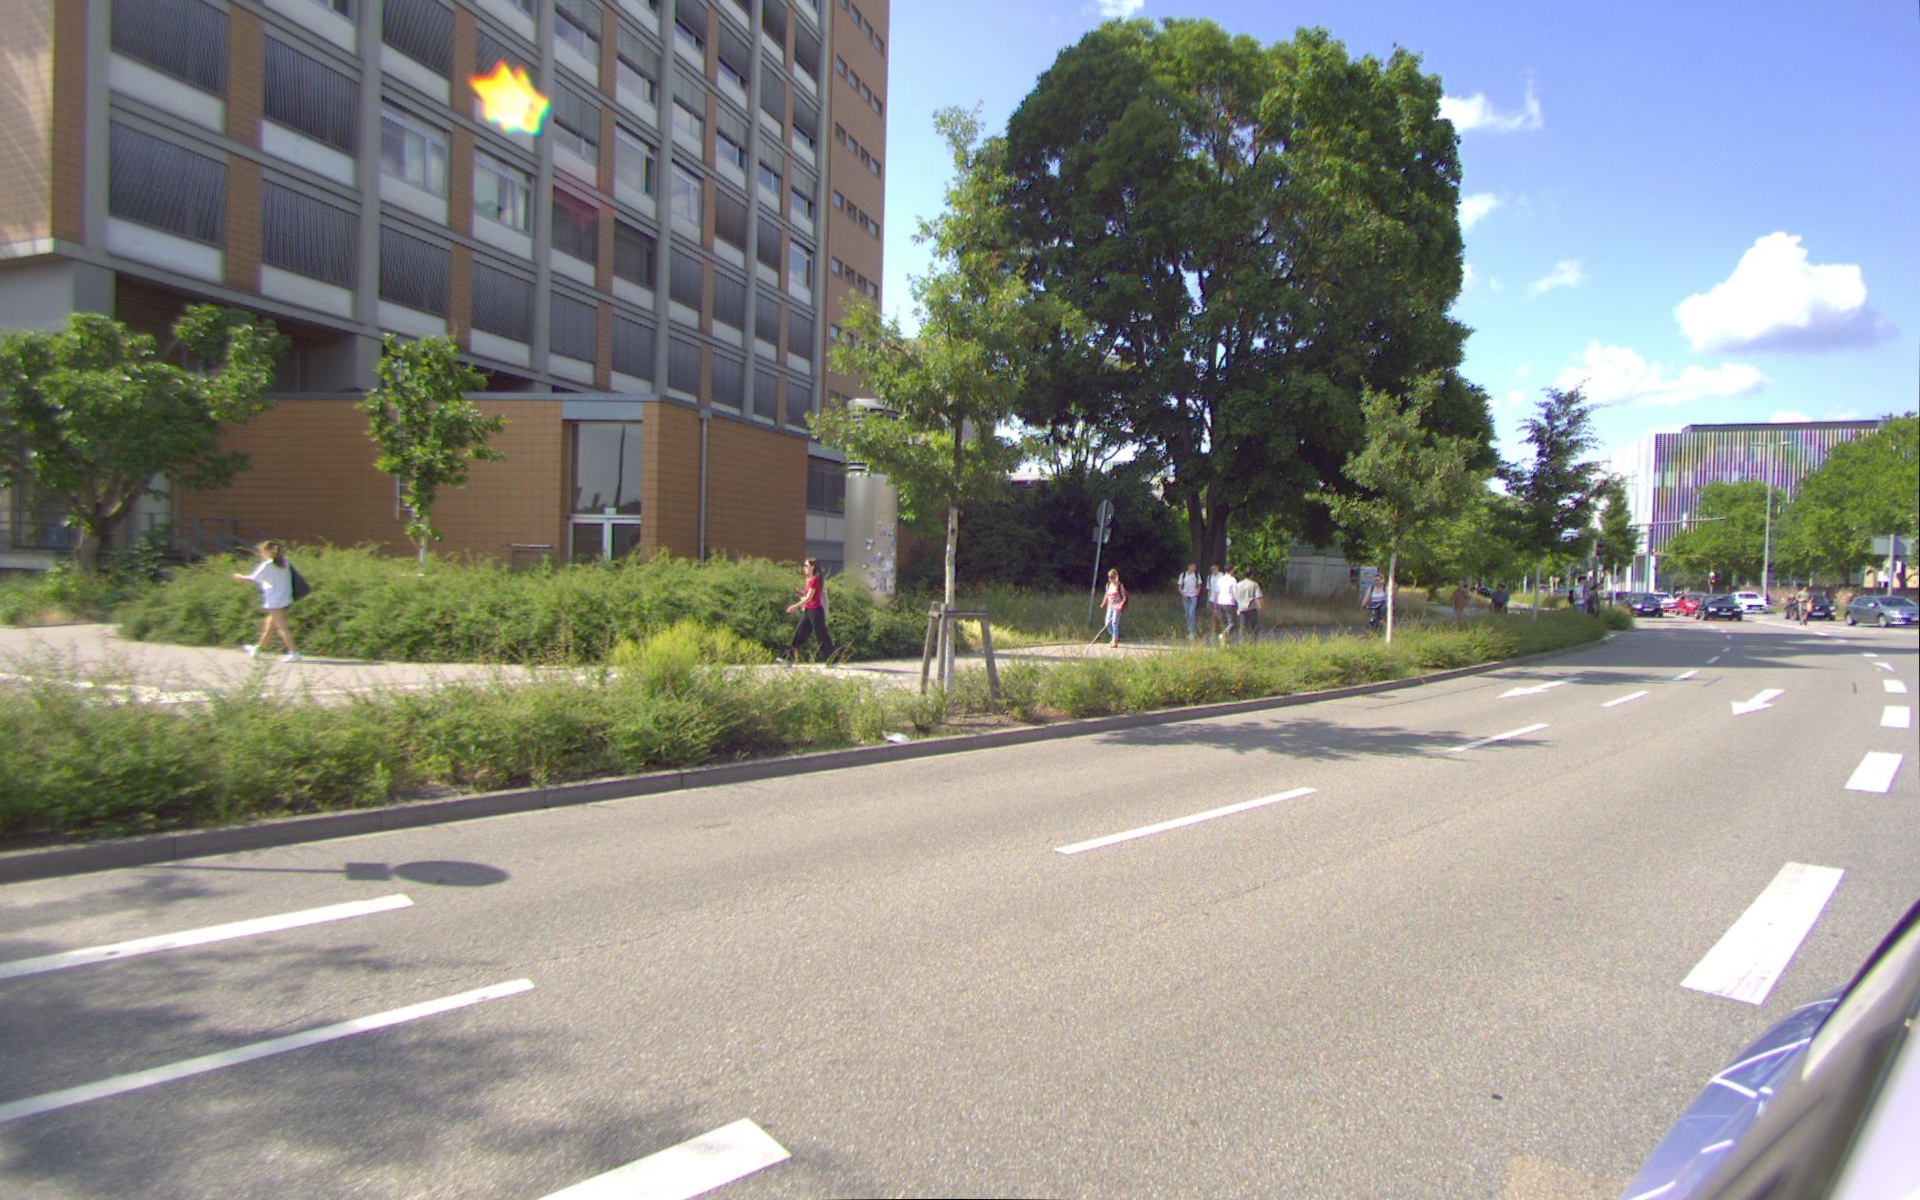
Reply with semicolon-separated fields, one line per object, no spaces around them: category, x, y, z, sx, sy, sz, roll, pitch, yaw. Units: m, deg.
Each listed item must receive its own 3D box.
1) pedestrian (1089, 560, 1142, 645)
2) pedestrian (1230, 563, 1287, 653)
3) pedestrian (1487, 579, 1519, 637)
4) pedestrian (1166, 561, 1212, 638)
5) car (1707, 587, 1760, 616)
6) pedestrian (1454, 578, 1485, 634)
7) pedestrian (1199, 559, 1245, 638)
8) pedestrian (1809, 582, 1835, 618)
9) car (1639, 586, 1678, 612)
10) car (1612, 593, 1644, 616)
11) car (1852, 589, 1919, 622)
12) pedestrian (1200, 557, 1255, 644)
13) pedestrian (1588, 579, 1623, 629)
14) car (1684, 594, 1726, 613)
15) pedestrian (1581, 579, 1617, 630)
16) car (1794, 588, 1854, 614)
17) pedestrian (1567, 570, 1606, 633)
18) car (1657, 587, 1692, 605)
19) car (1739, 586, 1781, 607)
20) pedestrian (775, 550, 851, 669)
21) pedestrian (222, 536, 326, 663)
pedestrian;3.124;0.035;20.328;0.613;1.642;0.877;5;4;40
pedestrian;6.116;0.144;20.729;0.741;1.775;0.877;5;4;39
pedestrian;16.980;0.242;31.642;0.764;1.756;0.709;0;0;37
pedestrian;5.256;-0.027;23.249;0.613;1.720;0.877;5;4;40
car;41.884;0.063;54.891;1.812;1.481;3.956;1;1;31
pedestrian;16.003;0.179;31.773;0.764;1.756;0.709;0;0;37
pedestrian;5.927;-0.039;22.906;0.613;1.720;0.877;5;4;40
pedestrian;41.606;0.000;48.848;0.730;1.736;0.869;0;0;23
car;41.621;-0.084;60.375;1.814;1.481;3.952;1;1;34
car;46.395;0.267;70.287;1.815;1.481;3.951;1;1;34
car;43.289;0.226;46.284;1.970;1.393;4.253;0;1;13
pedestrian;5.625;-0.009;21.291;0.741;1.767;0.877;5;4;40
pedestrian;22.836;0.126;35.787;0.925;1.756;0.756;0;0;43
car;46.087;0.189;62.642;1.584;1.148;3.593;1;1;28
pedestrian;22.269;0.146;35.272;0.925;1.756;0.756;0;0;43
car;47.776;0.046;56.043;1.717;1.351;3.753;0;1;28
pedestrian;20.622;0.052;33.321;0.962;2.039;0.756;0;0;43
car;51.092;-0.296;72.390;1.897;1.148;4.053;1;2;34
car;54.608;-0.255;69.128;1.766;1.371;3.955;0;1;32
pedestrian;-2.139;0.123;14.658;0.872;1.642;0.617;0;4;-31
pedestrian;-9.368;-0.032;13.832;1.080;1.642;0.613;3;3;14
